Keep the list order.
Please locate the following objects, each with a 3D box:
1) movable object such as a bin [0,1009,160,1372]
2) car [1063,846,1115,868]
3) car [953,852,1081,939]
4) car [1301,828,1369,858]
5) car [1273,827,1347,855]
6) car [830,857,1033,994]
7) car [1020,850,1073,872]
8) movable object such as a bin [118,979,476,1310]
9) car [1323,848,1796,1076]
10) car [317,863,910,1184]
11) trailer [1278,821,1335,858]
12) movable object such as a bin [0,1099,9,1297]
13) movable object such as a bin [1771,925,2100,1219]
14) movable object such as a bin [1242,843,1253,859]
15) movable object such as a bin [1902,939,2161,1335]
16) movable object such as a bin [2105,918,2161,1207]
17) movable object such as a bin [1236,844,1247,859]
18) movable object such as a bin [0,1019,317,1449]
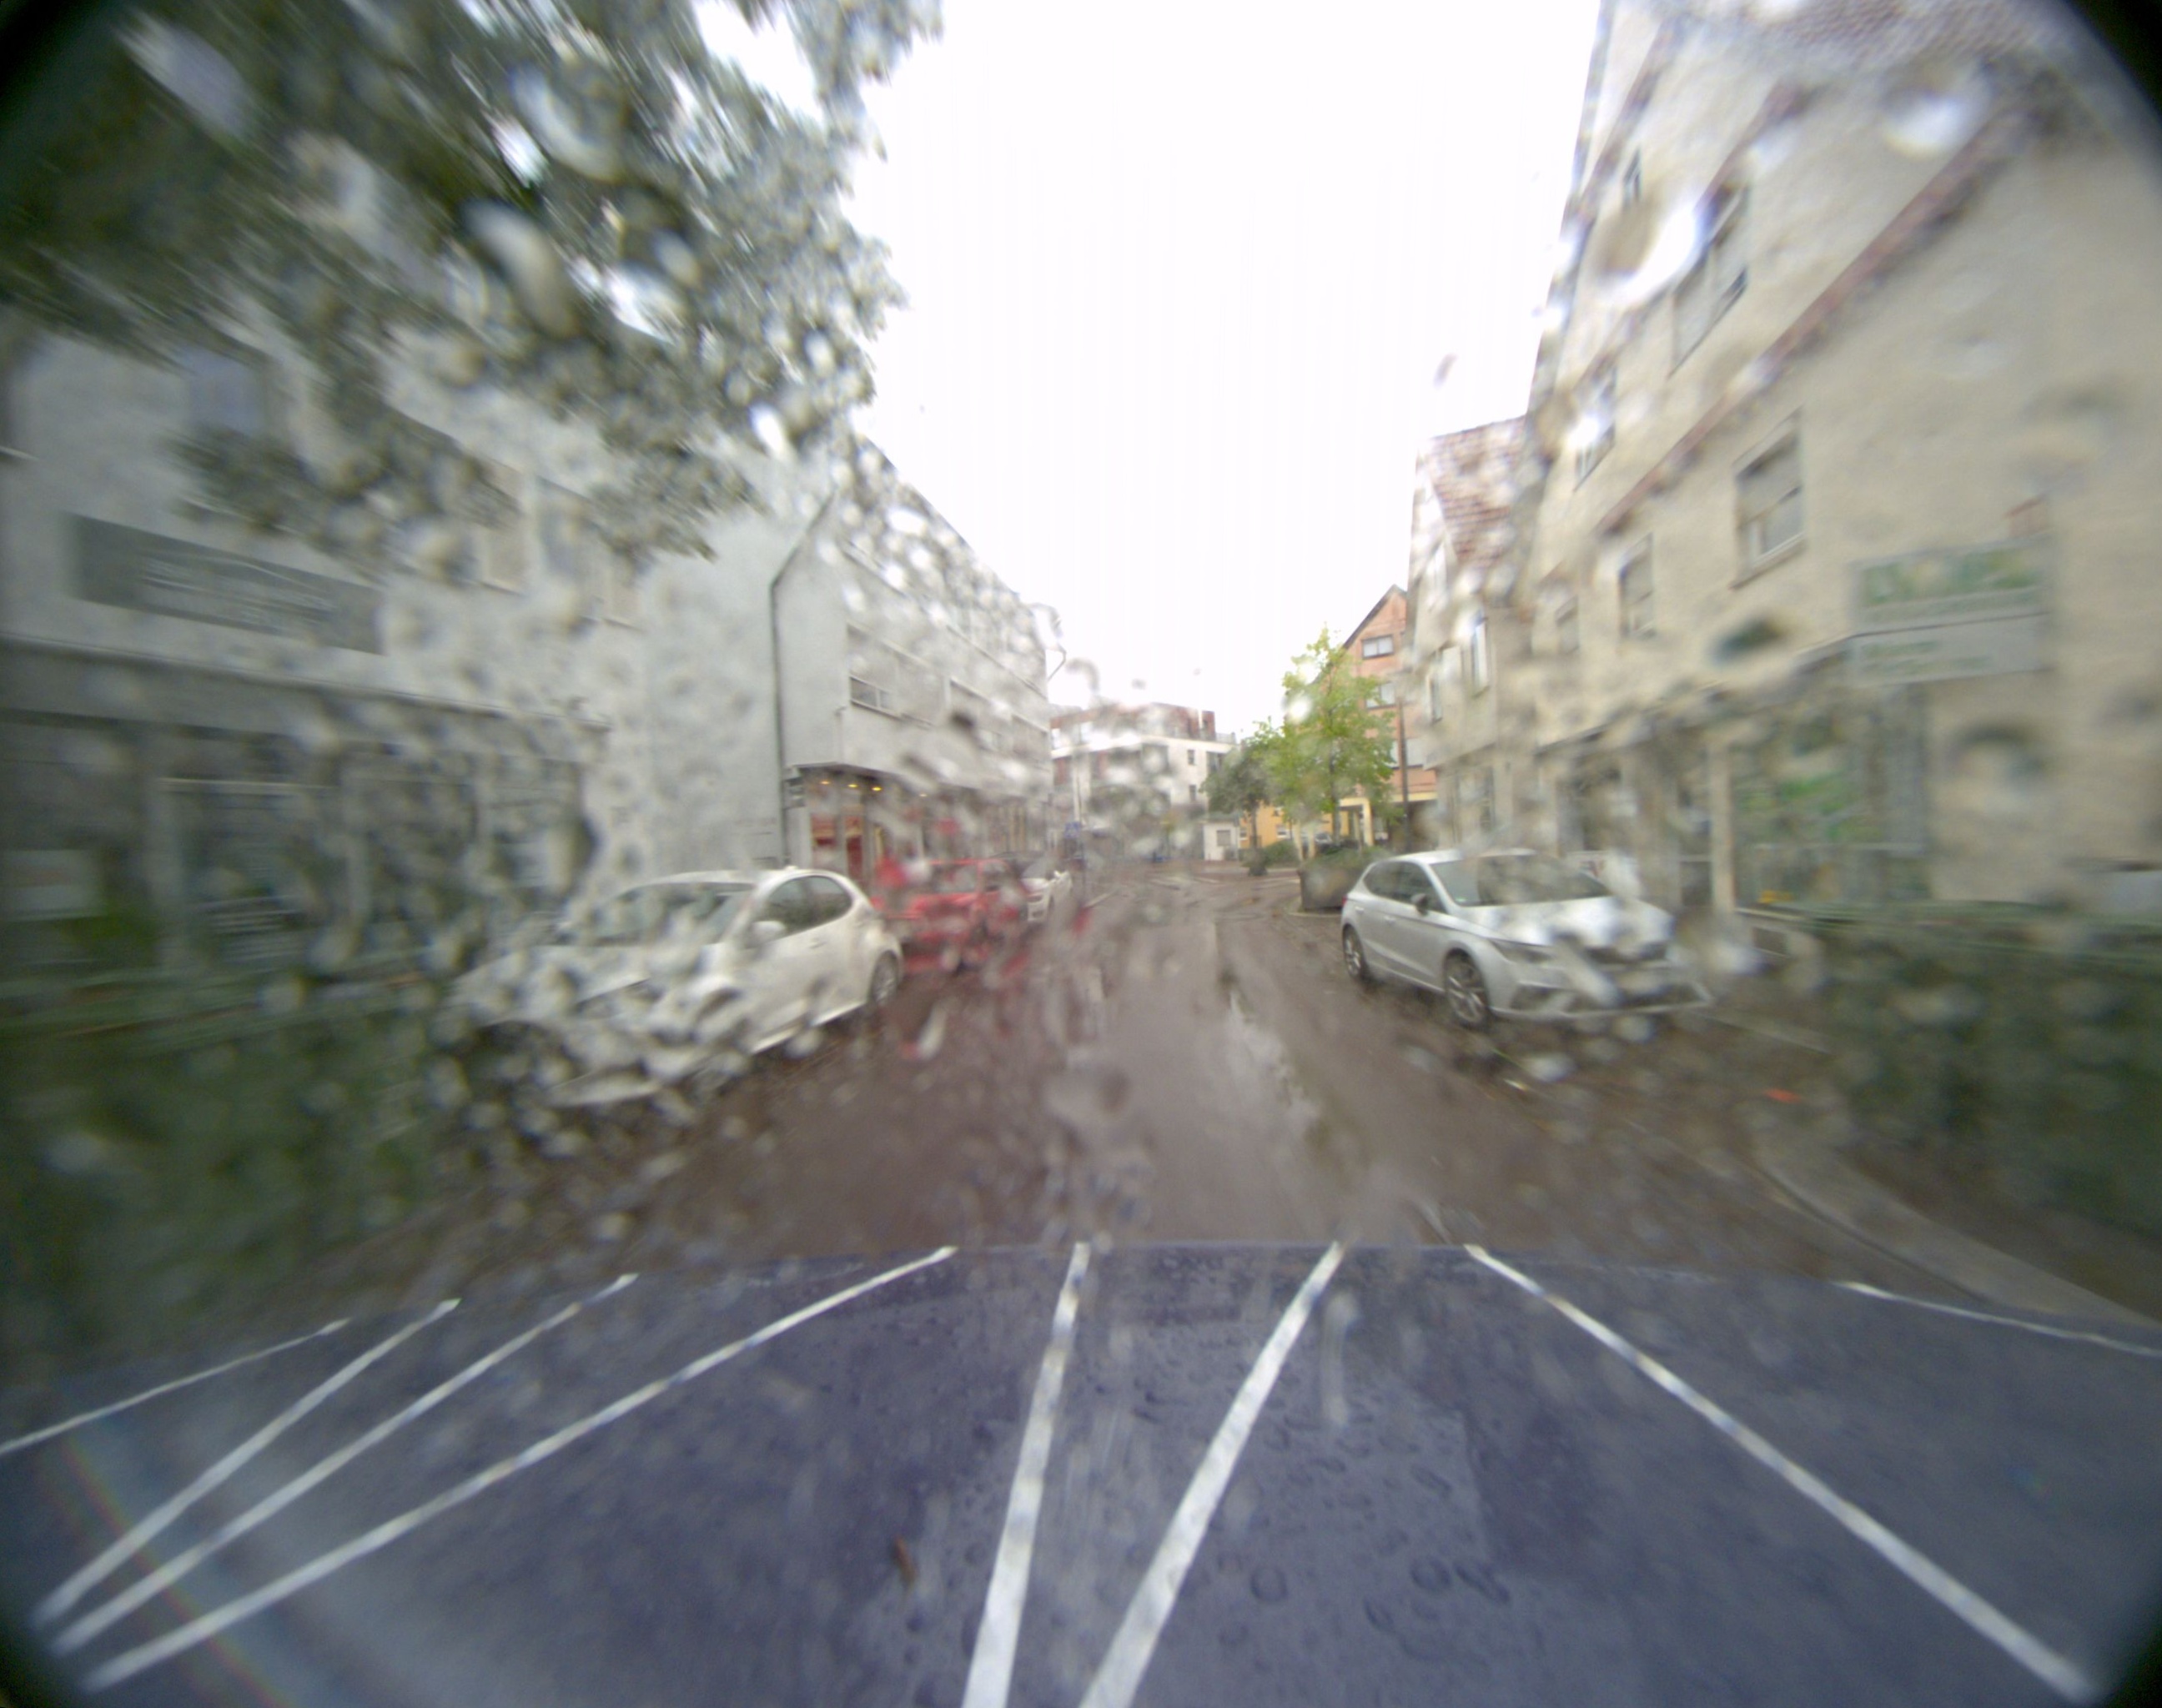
[{"bbox_3d":[-3.908,1.178,2.616,0.539,1.136,0.728,-2,1,6],"label":"movable object such as a bin"},{"bbox_3d":[0.546,0.235,55.753,3.575,1.428,1.683,-1,3,45],"label":"car"},{"bbox_3d":[-1.275,0.824,17.143,1.791,1.590,4.442,-3,0,9],"label":"car"},{"bbox_3d":[17.536,-0.775,52.527,3.990,1.661,1.840,-6,-2,35],"label":"car"},{"bbox_3d":[14.219,-0.794,47.285,3.989,1.500,1.839,-2,3,35],"label":"car"},{"bbox_3d":[-2.023,0.916,11.533,1.791,1.460,3.950,-3,2,7],"label":"car"},{"bbox_3d":[-2.714,0.553,59.285,3.910,1.546,1.806,-1,3,43],"label":"car"},{"bbox_3d":[-3.163,1.140,3.141,0.727,1.087,0.610,-4,3,-1],"label":"movable object such as a bin"},{"bbox_3d":[3.922,0.759,7.231,1.854,1.443,4.073,-4,0,0],"label":"car"},{"bbox_3d":[-2.987,0.940,6.017,1.791,1.546,3.951,-2,1,9],"label":"car"},{"bbox_3d":[14.973,-0.953,50.470,3.086,2.075,1.840,-6,-2,35],"label":"trailer"},{"bbox_3d":[-4.599,1.203,2.689,0.539,1.124,0.728,-2,1,6],"label":"movable object such as a bin"},{"bbox_3d":[3.856,0.945,3.504,0.683,1.129,0.719,-3,1,8],"label":"movable object such as a bin"},{"bbox_3d":[13.987,-0.255,63.926,0.524,1.226,0.630,-6,4,-45],"label":"movable object such as a bin"},{"bbox_3d":[3.690,0.928,2.709,0.701,1.137,0.719,-3,0,7],"label":"movable object such as a bin"},{"bbox_3d":[4.526,0.813,2.717,0.701,1.115,0.719,-6,2,7],"label":"movable object such as a bin"},{"bbox_3d":[13.374,-0.190,63.305,0.524,1.226,0.630,-6,4,-45],"label":"movable object such as a bin"},{"bbox_3d":[-3.204,1.168,2.463,0.727,1.077,0.604,-4,3,-1],"label":"movable object such as a bin"}]
